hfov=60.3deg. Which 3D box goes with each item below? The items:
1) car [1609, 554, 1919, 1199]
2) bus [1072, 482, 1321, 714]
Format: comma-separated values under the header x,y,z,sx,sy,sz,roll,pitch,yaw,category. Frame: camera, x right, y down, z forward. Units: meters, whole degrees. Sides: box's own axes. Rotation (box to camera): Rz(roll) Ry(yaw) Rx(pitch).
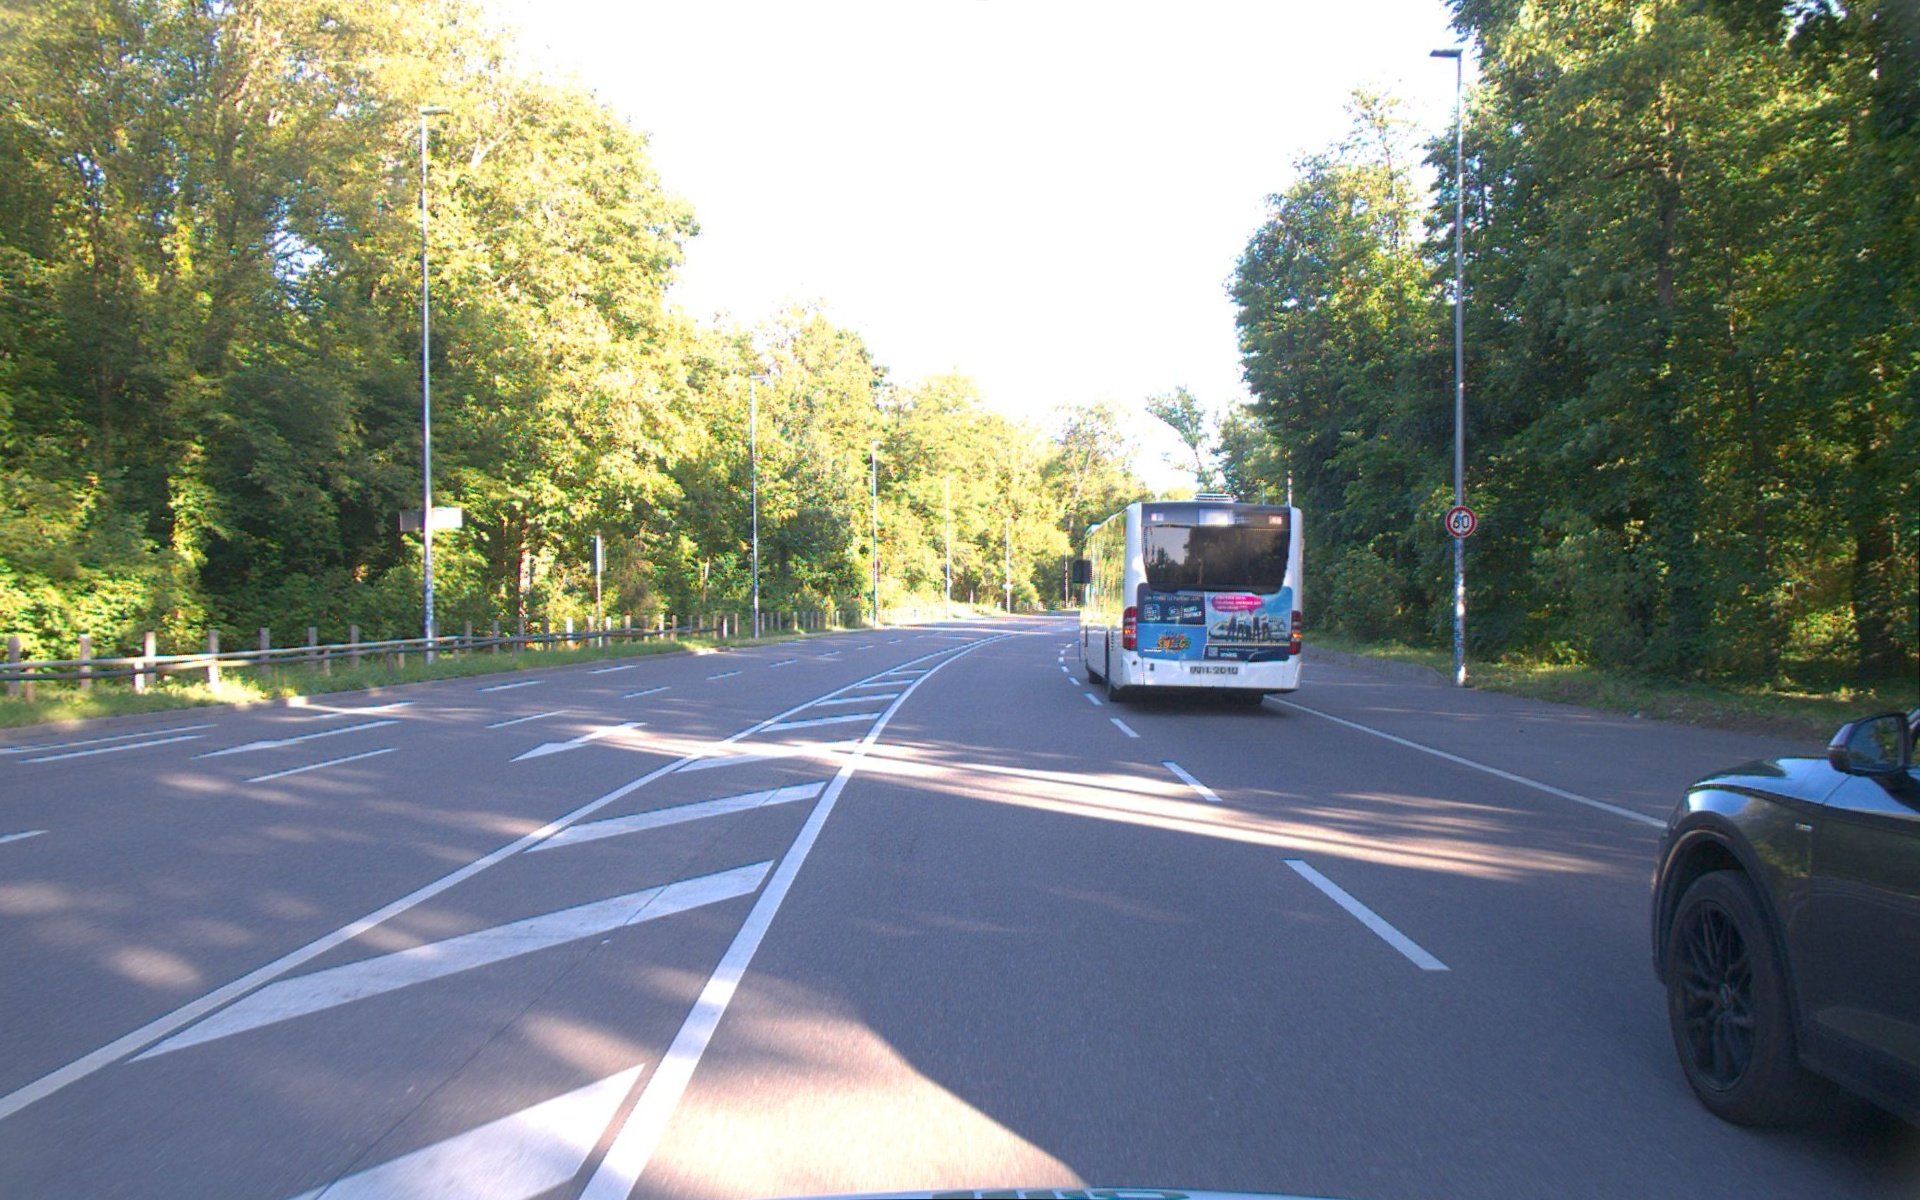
x,y,z,sx,sy,sz,roll,pitch,yaw,category
3.239,0.704,3.599,1.854,1.633,4.544,0,0,0,car
3.601,-0.024,28.395,2.634,3.096,12.041,1,0,0,bus
